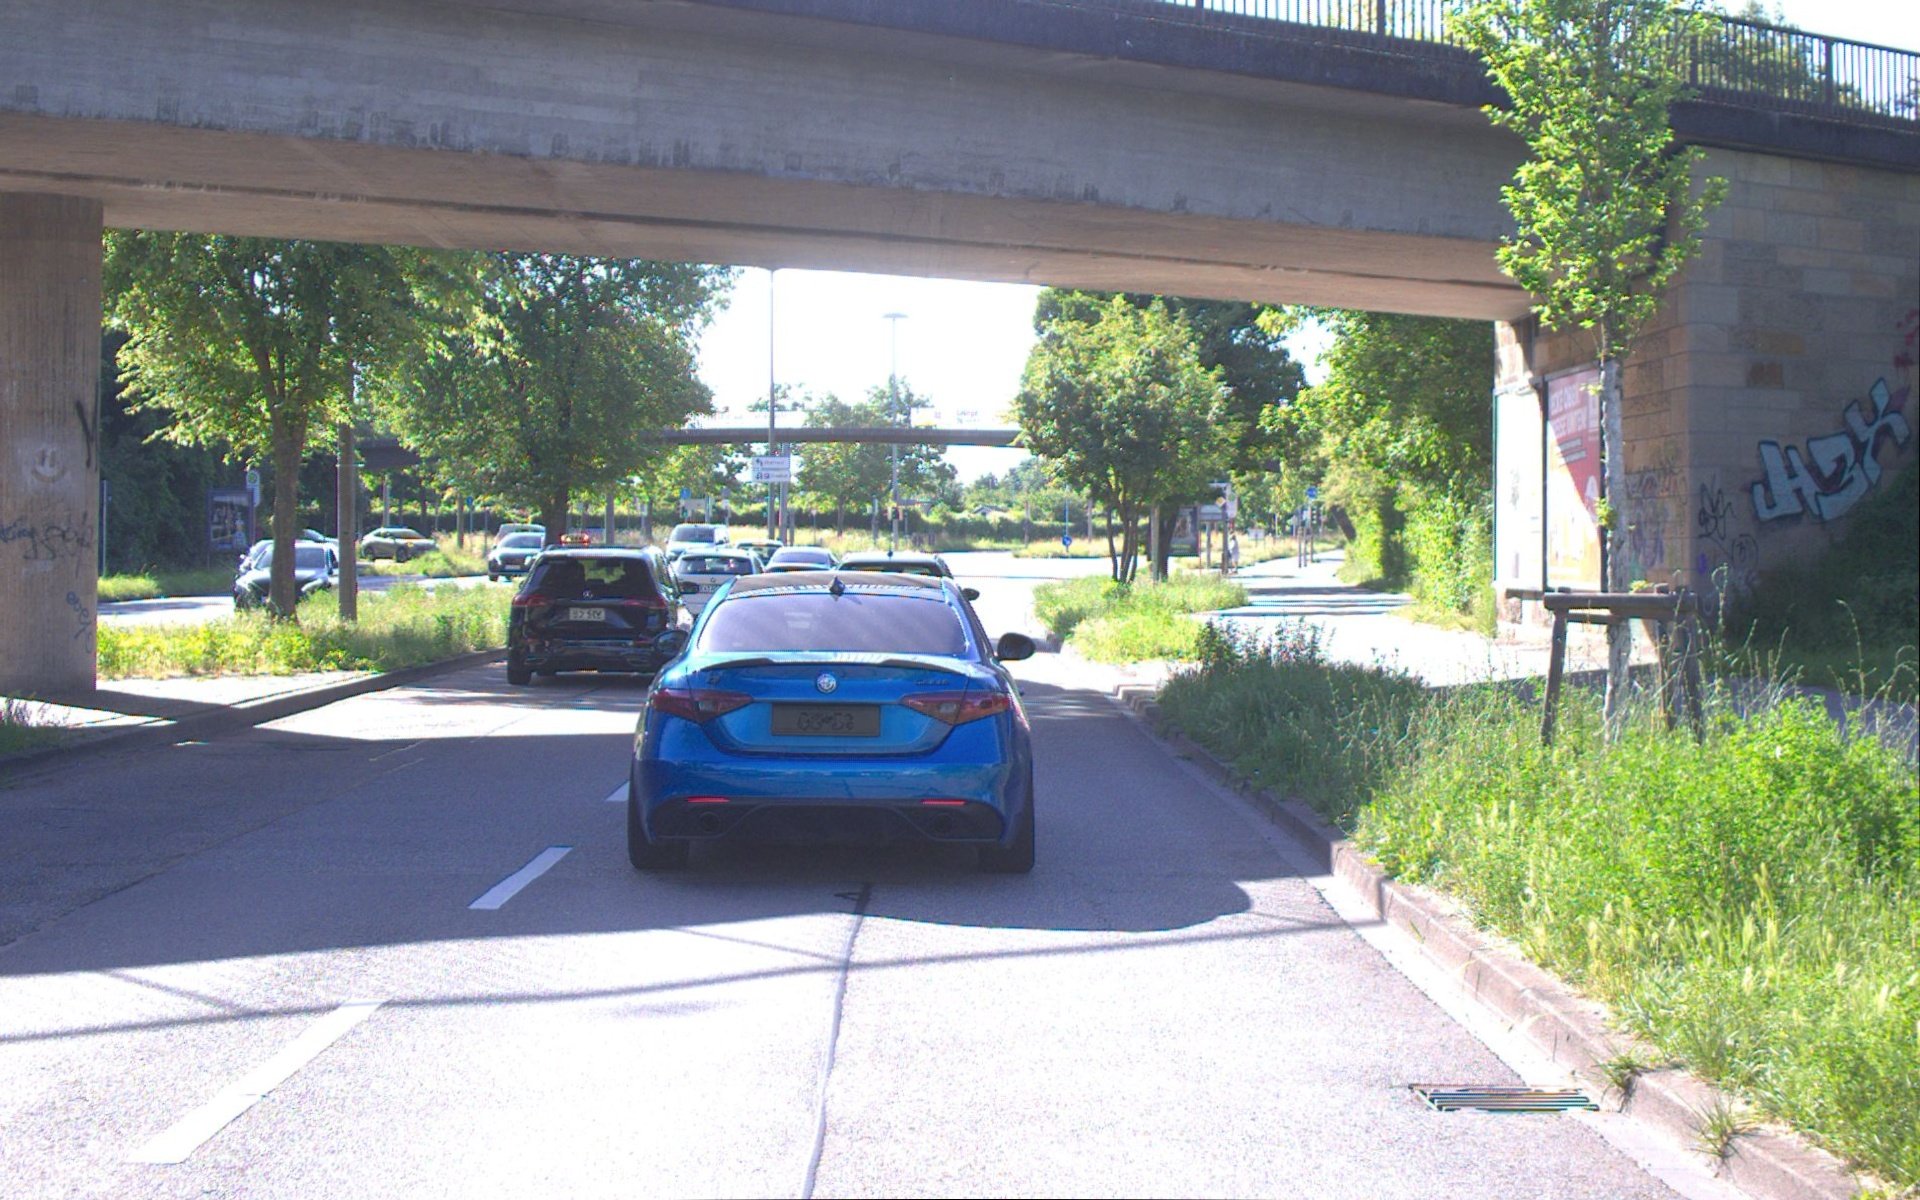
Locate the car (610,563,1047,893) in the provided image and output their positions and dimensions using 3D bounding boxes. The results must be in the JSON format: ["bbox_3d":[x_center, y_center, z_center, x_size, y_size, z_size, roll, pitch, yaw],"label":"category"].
[{"bbox_3d":[-0.593,0.540,17.226,1.883,1.401,4.224,2,1,0],"label":"car"}]

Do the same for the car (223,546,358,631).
[{"bbox_3d":[-13.064,-0.244,67.298,1.842,1.537,4.000,-2,1,0],"label":"car"}]

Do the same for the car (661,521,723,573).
[{"bbox_3d":[-10.220,-2.022,131.550,1.993,1.922,5.246,0,1,0],"label":"car"}]

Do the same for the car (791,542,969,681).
[{"bbox_3d":[-0.887,0.100,39.445,1.883,1.449,4.526,2,1,0],"label":"car"}]

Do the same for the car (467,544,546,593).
[{"bbox_3d":[-15.316,-1.071,116.272,1.982,1.547,4.592,2,1,0],"label":"car"}]

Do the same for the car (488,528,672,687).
[{"bbox_3d":[-4.072,0.053,37.383,1.707,1.592,4.224,2,1,-3],"label":"car"}]

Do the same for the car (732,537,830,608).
[{"bbox_3d":[-3.831,-0.598,74.342,1.883,1.449,4.526,2,1,0],"label":"car"}]

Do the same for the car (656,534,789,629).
[{"bbox_3d":[-3.892,-0.320,56.955,1.883,1.449,4.526,2,1,0],"label":"car"}]
